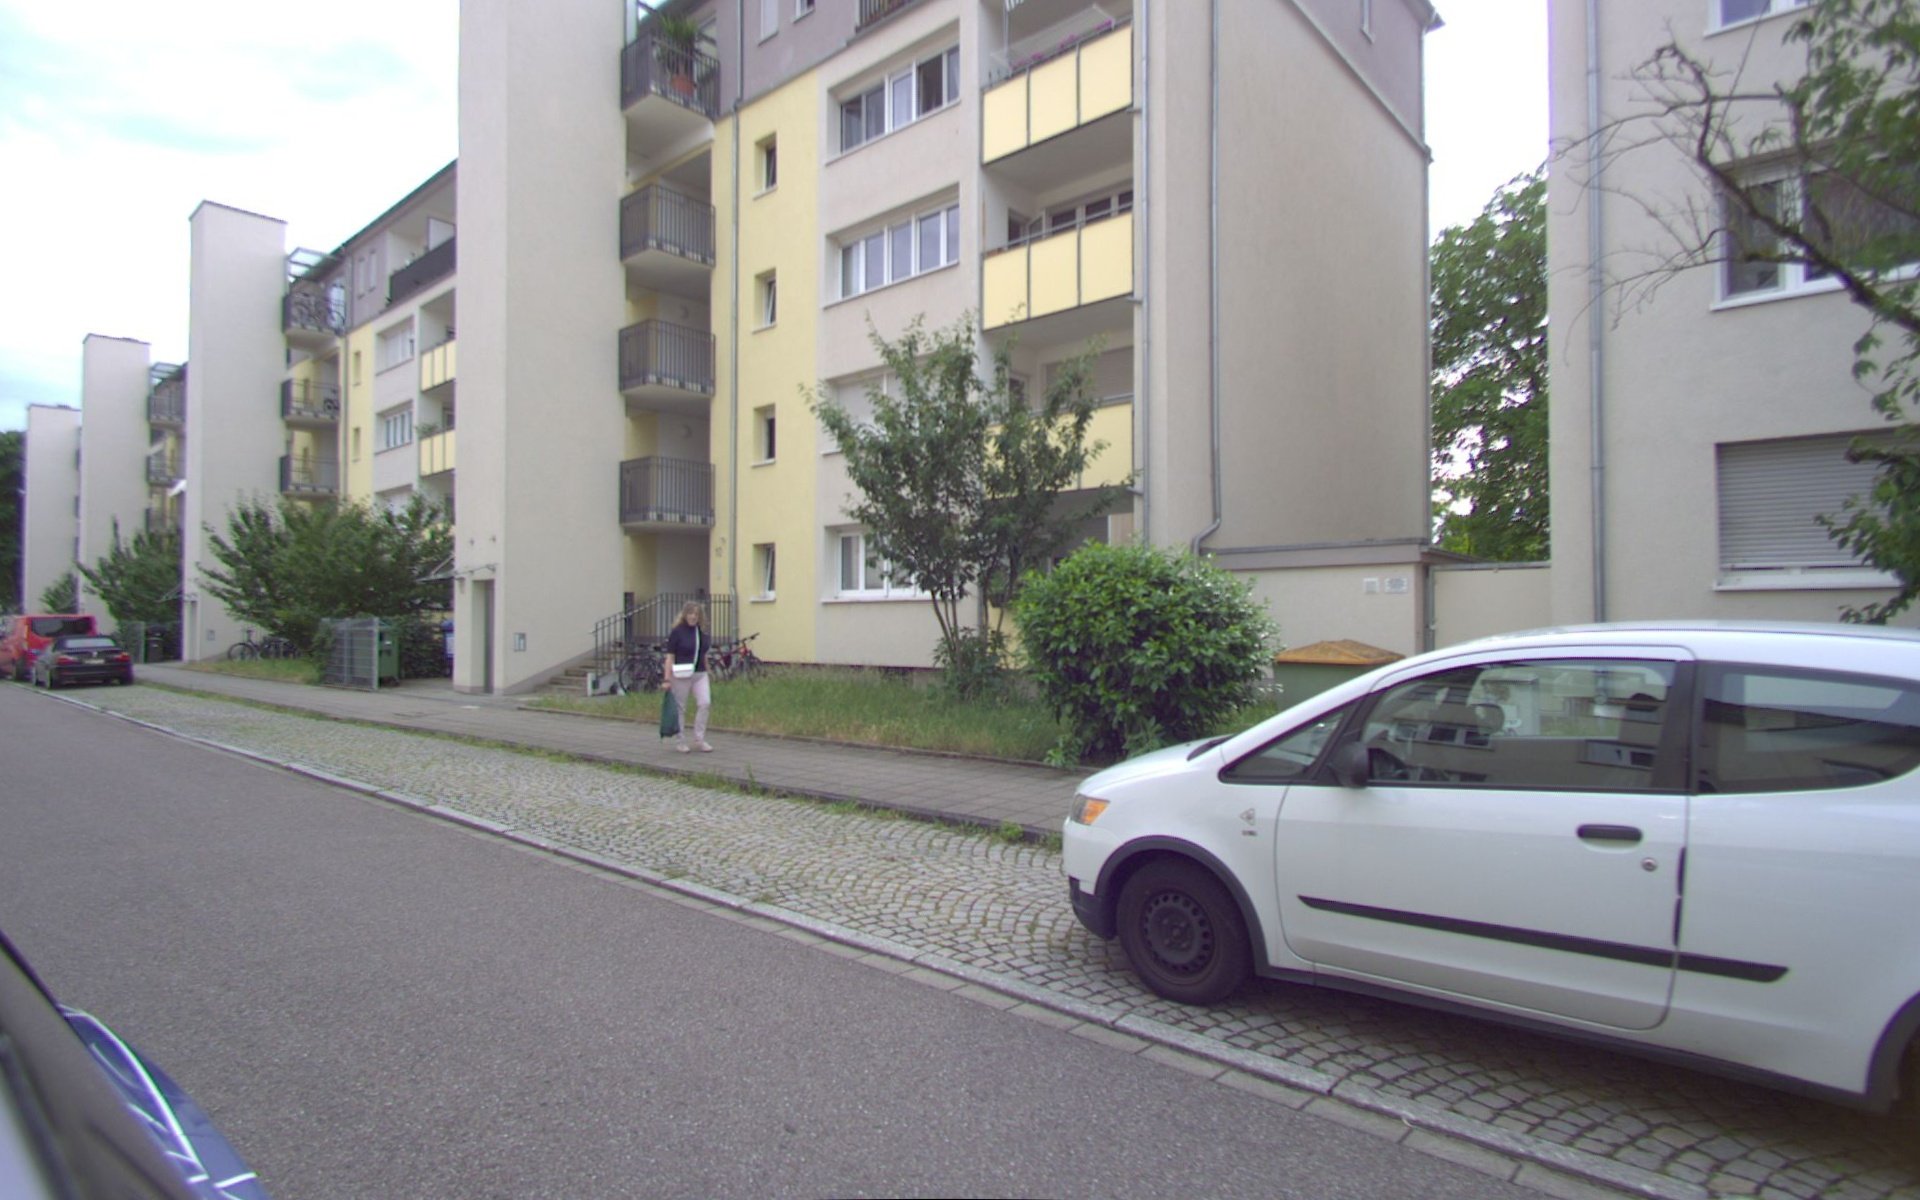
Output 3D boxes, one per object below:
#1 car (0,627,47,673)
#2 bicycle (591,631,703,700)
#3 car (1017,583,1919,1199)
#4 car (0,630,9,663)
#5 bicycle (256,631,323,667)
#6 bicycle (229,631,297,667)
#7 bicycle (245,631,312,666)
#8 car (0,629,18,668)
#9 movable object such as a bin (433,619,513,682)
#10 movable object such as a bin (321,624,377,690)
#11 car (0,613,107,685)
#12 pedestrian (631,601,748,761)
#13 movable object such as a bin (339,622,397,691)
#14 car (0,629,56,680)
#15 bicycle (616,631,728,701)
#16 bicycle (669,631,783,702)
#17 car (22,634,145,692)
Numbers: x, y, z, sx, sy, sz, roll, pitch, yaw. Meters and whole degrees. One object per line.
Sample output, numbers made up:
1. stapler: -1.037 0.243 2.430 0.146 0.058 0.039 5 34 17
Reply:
1. car: -35.936 1.854 37.939 4.857 1.582 1.816 -2 0 40
2. bicycle: -5.580 1.139 18.163 0.621 1.150 2.007 -1 -2 32
3. car: 2.268 0.765 3.790 3.869 1.582 1.702 -2 0 42
4. car: -44.254 2.132 45.643 3.855 1.449 1.626 -2 0 42
5. bicycle: -22.353 1.618 33.746 1.812 1.127 0.571 1 -2 -42
6. bicycle: -23.810 1.663 34.584 0.604 1.127 1.816 -2 -1 40
7. bicycle: -23.114 1.637 34.358 0.570 1.127 1.814 -2 -2 43
8. car: -40.176 1.997 41.796 3.896 1.542 1.634 -2 0 44
9. movable object such as a bin: -11.980 1.222 24.902 1.371 1.475 1.338 -2 -1 40
10. movable object such as a bin: -13.903 1.271 23.024 1.288 1.440 0.794 -2 -1 44
11. car: -28.020 1.444 30.942 4.917 1.968 2.130 -2 0 40
12. pedestrian: -2.904 0.833 10.875 0.945 1.622 0.792 -2 -1 37
13. movable object such as a bin: -12.922 1.219 22.082 0.794 1.440 1.289 0 -1 -45
14. car: -32.269 1.814 34.505 4.053 1.582 1.702 -2 0 42
15. bicycle: -5.037 1.130 17.838 0.621 1.150 2.007 -1 -2 32
16. bicycle: -4.043 1.130 17.646 0.622 1.150 2.003 -2 -2 38
17. car: -23.394 1.616 26.966 4.359 1.333 1.851 -2 0 41
